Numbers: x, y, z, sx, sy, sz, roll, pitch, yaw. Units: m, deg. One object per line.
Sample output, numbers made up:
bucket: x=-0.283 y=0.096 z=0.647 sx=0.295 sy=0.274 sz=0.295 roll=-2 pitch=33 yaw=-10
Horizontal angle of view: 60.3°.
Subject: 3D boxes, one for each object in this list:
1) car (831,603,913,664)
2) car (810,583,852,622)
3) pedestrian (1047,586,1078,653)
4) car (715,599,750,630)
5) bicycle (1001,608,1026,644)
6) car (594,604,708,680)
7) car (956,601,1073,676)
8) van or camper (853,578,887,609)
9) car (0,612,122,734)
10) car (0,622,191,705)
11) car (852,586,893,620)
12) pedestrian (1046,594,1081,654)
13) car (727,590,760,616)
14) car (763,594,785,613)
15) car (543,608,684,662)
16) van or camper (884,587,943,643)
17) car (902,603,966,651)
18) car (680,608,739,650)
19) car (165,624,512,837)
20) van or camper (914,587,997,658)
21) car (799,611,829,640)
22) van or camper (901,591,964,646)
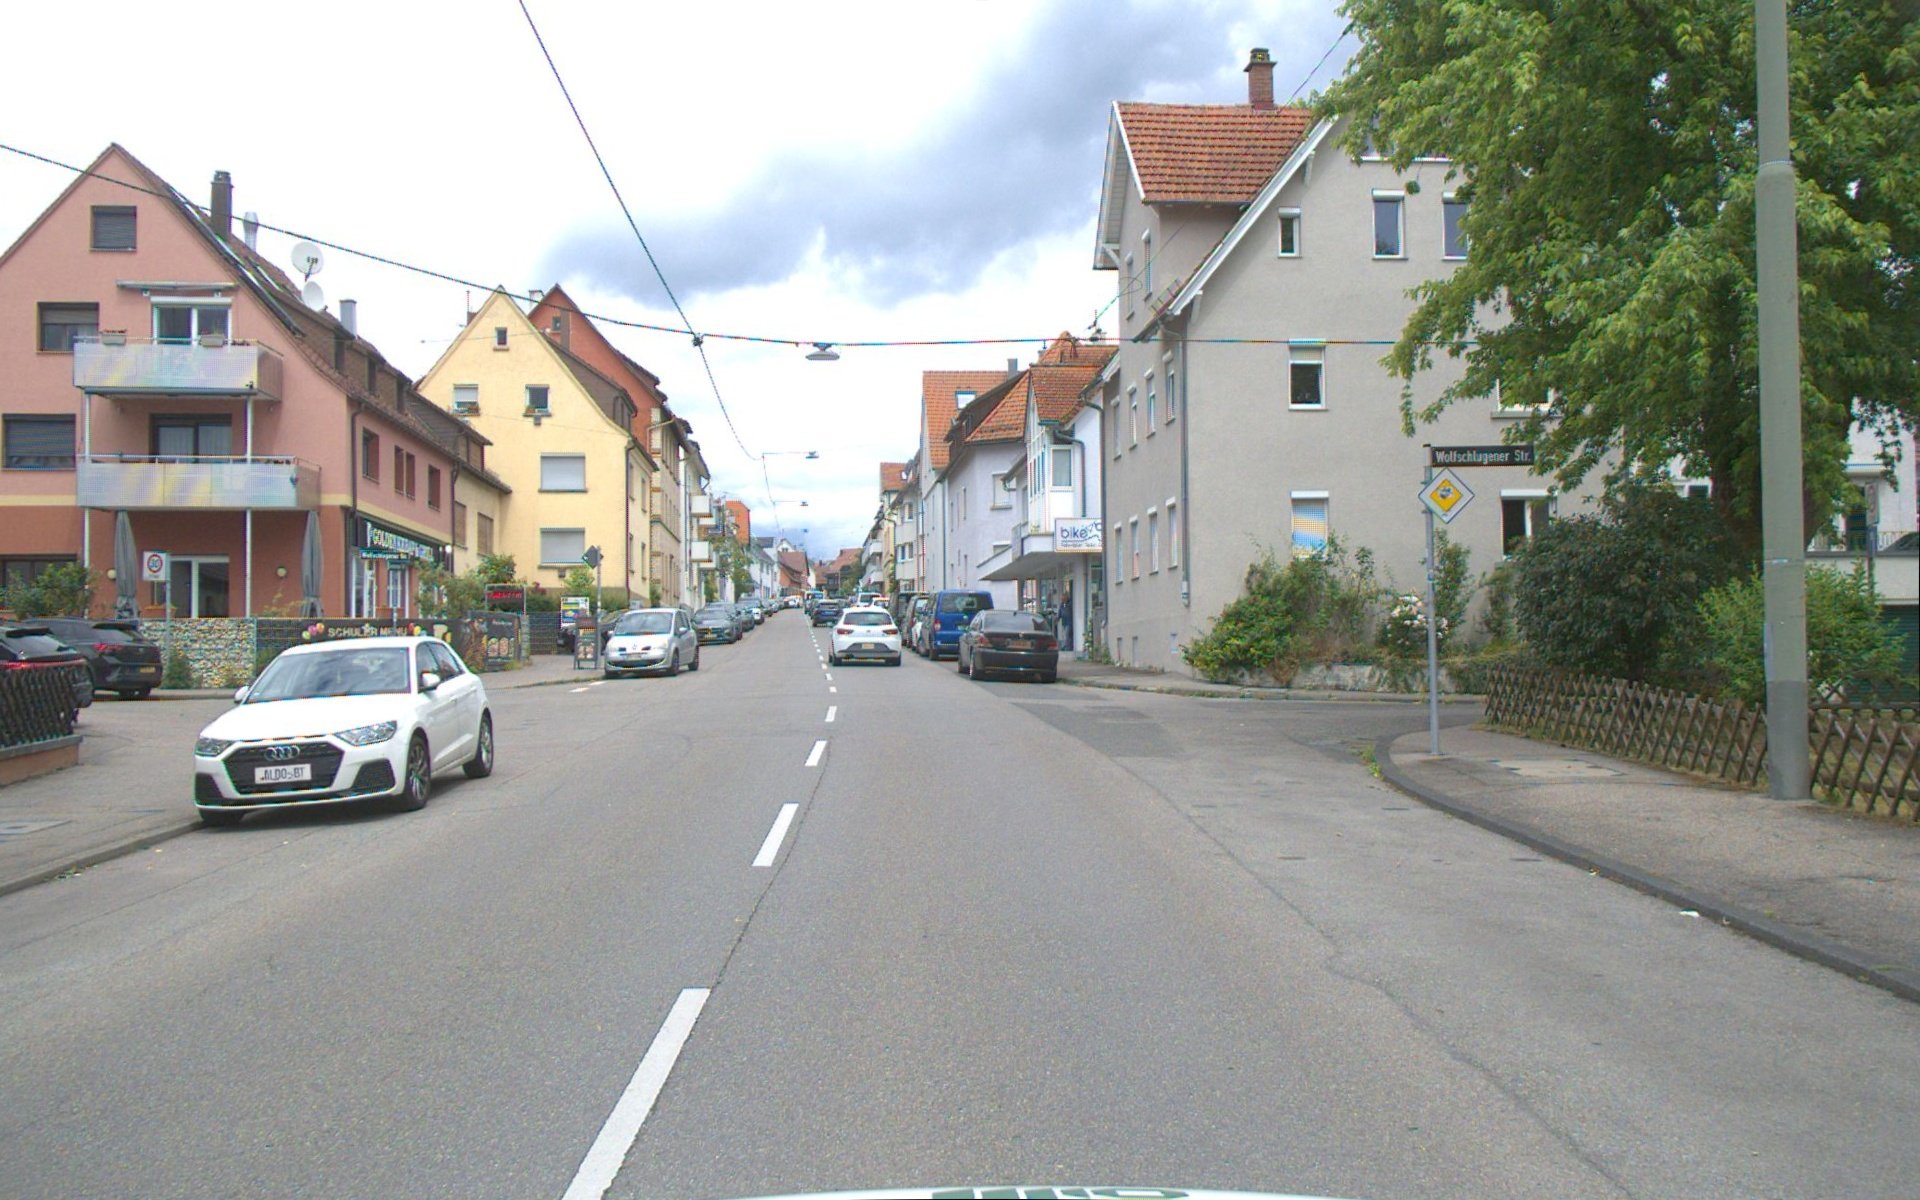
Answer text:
car: x=-2.301 y=0.825 z=42.344 sx=1.903 sy=1.464 sz=3.995 roll=0 pitch=0 yaw=-6
car: x=-6.977 y=0.148 z=89.291 sx=2.111 sy=2.049 sz=3.994 roll=1 pitch=0 yaw=-7
pedestrian: x=3.163 y=0.586 z=50.892 sx=0.745 sy=2.049 sz=0.618 roll=0 pitch=0 yaw=29
car: x=-12.114 y=0.768 z=88.249 sx=1.610 sy=1.499 sz=4.174 roll=-3 pitch=0 yaw=-5
bicycle: x=1.739 y=0.829 z=53.293 sx=0.244 sy=1.133 sz=1.466 roll=-2 pitch=0 yaw=24
car: x=-7.382 y=0.958 z=39.866 sx=1.796 sy=1.605 sz=4.032 roll=-4 pitch=0 yaw=1
car: x=1.134 y=0.813 z=36.822 sx=1.955 sy=1.544 sz=4.885 roll=1 pitch=0 yaw=-6
van or camper: x=-6.105 y=-0.442 z=111.613 sx=1.904 sy=2.091 sz=4.555 roll=0 pitch=0 yaw=-8
car: x=-13.743 y=0.918 z=21.712 sx=4.426 sy=1.498 sz=2.000 roll=0 pitch=0 yaw=-1
car: x=-17.424 y=1.253 z=32.054 sx=4.311 sy=1.498 sz=2.001 roll=-2 pitch=-3 yaw=15
car: x=-4.755 y=0.144 z=89.334 sx=1.904 sy=1.722 sz=3.994 roll=2 pitch=0 yaw=-7
pedestrian: x=3.050 y=0.694 z=48.897 sx=0.854 sy=1.755 sz=0.618 roll=0 pitch=0 yaw=29
car: x=-14.128 y=0.191 z=108.115 sx=1.955 sy=1.680 sz=3.995 roll=-1 pitch=0 yaw=-6
car: x=-17.039 y=0.323 z=151.529 sx=1.955 sy=1.680 sz=4.174 roll=-1 pitch=0 yaw=-5
car: x=-11.017 y=1.131 z=52.752 sx=4.147 sy=1.498 sz=1.997 roll=-2 pitch=-4 yaw=-5
van or camper: x=-1.938 y=0.584 z=67.583 sx=1.955 sy=2.102 sz=5.937 roll=2 pitch=0 yaw=-6
car: x=-0.914 y=0.866 z=54.473 sx=1.681 sy=1.461 sz=4.633 roll=1 pitch=0 yaw=-6
car: x=-10.007 y=1.135 z=66.294 sx=1.955 sy=1.498 sz=4.239 roll=-4 pitch=1 yaw=-4
car: x=-5.306 y=1.028 z=14.673 sx=1.692 sy=1.483 sz=3.896 roll=-4 pitch=0 yaw=-3
van or camper: x=-0.189 y=0.625 z=48.017 sx=1.889 sy=1.959 sz=4.824 roll=0 pitch=0 yaw=-6
car: x=-10.934 y=1.895 z=123.761 sx=2.111 sy=2.049 sz=3.994 roll=1 pitch=0 yaw=-7
van or camper: x=-1.034 y=0.641 z=59.978 sx=1.835 sy=1.861 sz=4.674 roll=1 pitch=0 yaw=-6
